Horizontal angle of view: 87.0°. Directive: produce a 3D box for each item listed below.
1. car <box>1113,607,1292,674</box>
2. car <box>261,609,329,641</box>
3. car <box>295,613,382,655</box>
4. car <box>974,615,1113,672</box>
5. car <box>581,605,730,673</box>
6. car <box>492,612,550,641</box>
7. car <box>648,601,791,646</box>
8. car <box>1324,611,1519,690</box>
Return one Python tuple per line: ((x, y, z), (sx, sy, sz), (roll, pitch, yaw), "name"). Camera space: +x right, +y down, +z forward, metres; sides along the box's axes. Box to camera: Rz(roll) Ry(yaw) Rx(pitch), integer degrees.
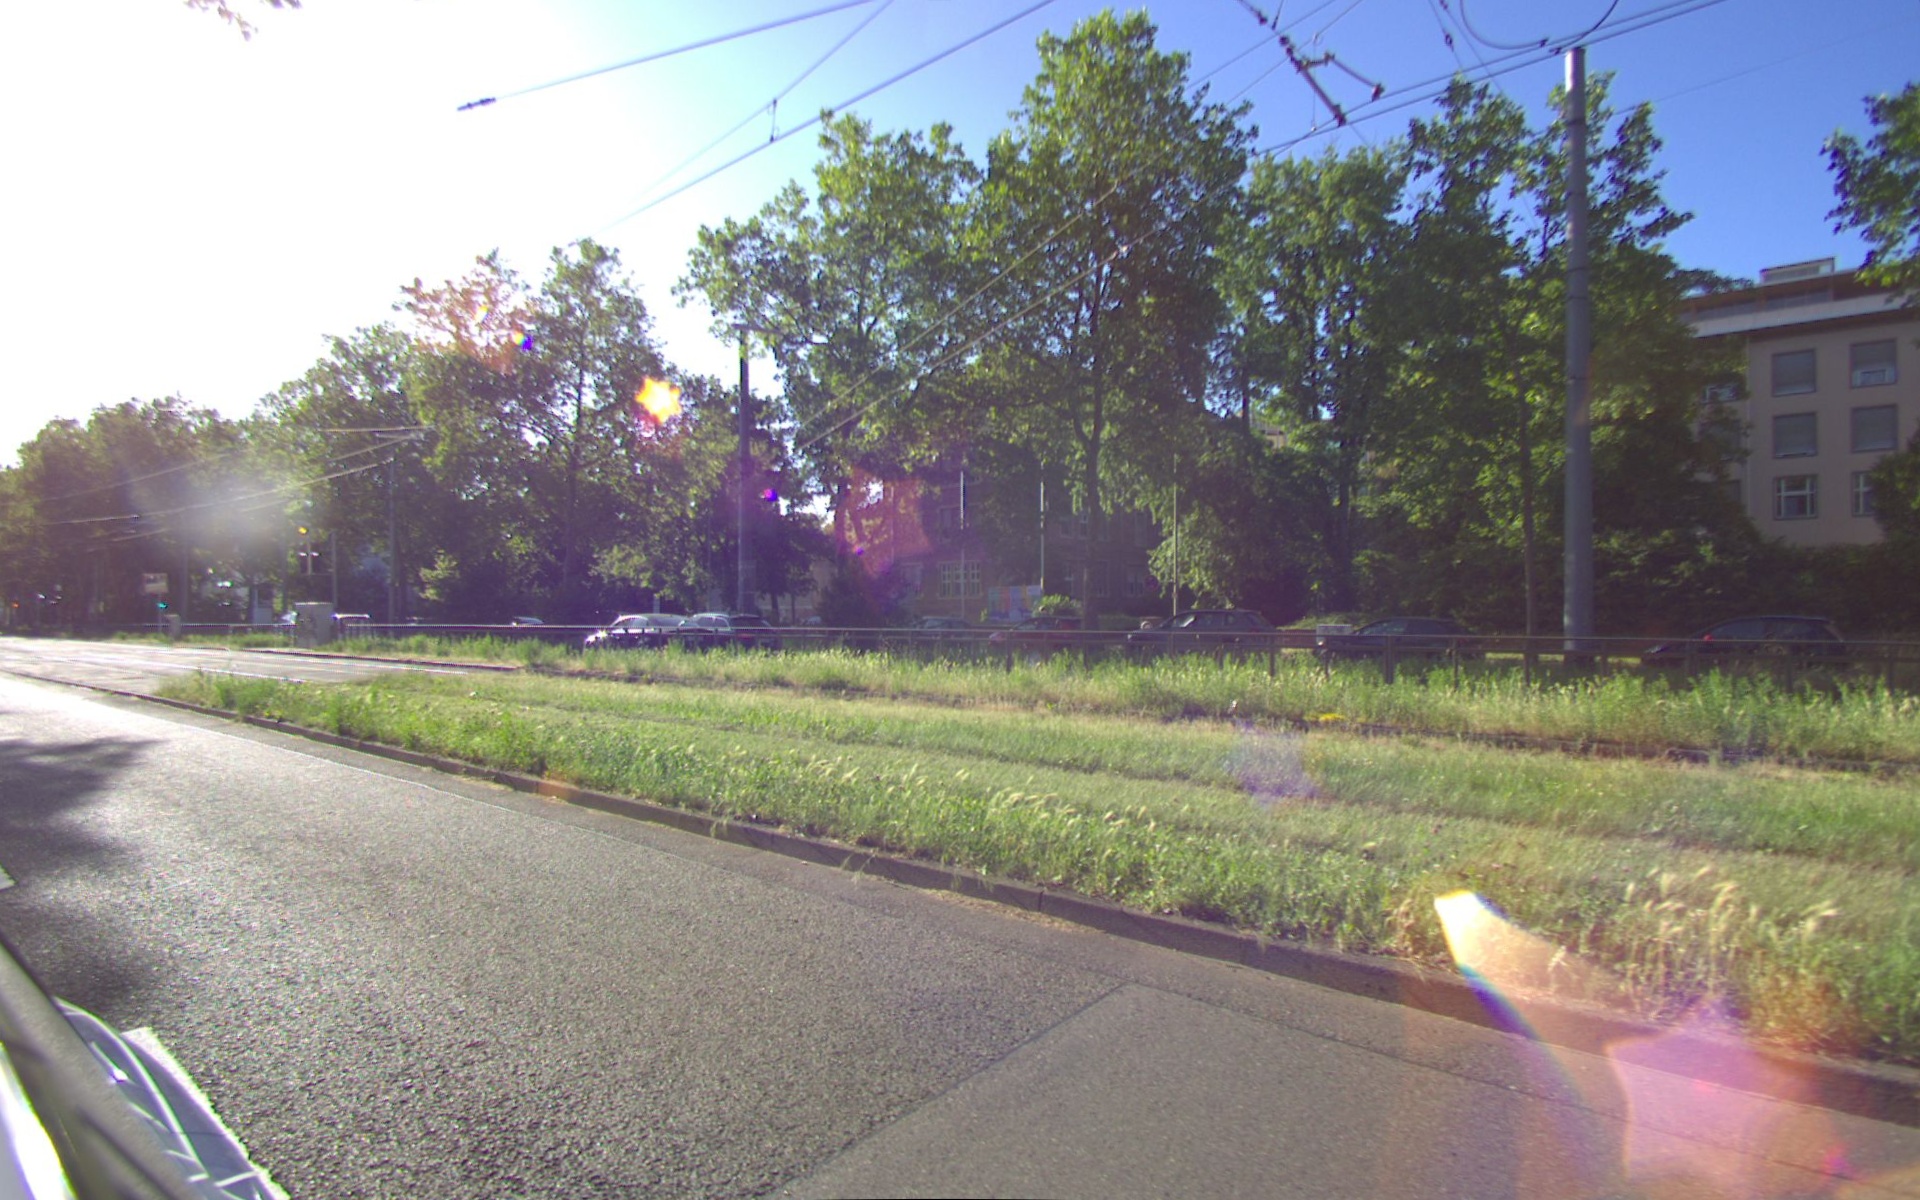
((6.847, 1.126, 28.789), (4.509, 1.696, 1.974), (-2, 1, 39), "car")
((-36.786, 1.415, 55.952), (4.594, 1.631, 1.867), (-2, 1, 40), "car")
((-25.450, 1.387, 41.425), (3.870, 1.541, 1.827), (-2, 1, 39), "car")
((2.661, 1.374, 32.529), (3.995, 1.634, 1.974), (-2, 1, 39), "car")
((-7.911, 0.979, 26.120), (4.046, 1.563, 1.775), (-2, 1, 42), "car")
((-24.223, 1.438, 55.790), (3.823, 1.482, 1.574), (-2, 1, 45), "car")
((-7.018, 0.687, 29.249), (4.706, 1.143, 1.671), (-2, 1, 43), "car")
((11.234, 1.193, 24.761), (3.997, 1.696, 1.803), (-2, 1, 40), "car")
